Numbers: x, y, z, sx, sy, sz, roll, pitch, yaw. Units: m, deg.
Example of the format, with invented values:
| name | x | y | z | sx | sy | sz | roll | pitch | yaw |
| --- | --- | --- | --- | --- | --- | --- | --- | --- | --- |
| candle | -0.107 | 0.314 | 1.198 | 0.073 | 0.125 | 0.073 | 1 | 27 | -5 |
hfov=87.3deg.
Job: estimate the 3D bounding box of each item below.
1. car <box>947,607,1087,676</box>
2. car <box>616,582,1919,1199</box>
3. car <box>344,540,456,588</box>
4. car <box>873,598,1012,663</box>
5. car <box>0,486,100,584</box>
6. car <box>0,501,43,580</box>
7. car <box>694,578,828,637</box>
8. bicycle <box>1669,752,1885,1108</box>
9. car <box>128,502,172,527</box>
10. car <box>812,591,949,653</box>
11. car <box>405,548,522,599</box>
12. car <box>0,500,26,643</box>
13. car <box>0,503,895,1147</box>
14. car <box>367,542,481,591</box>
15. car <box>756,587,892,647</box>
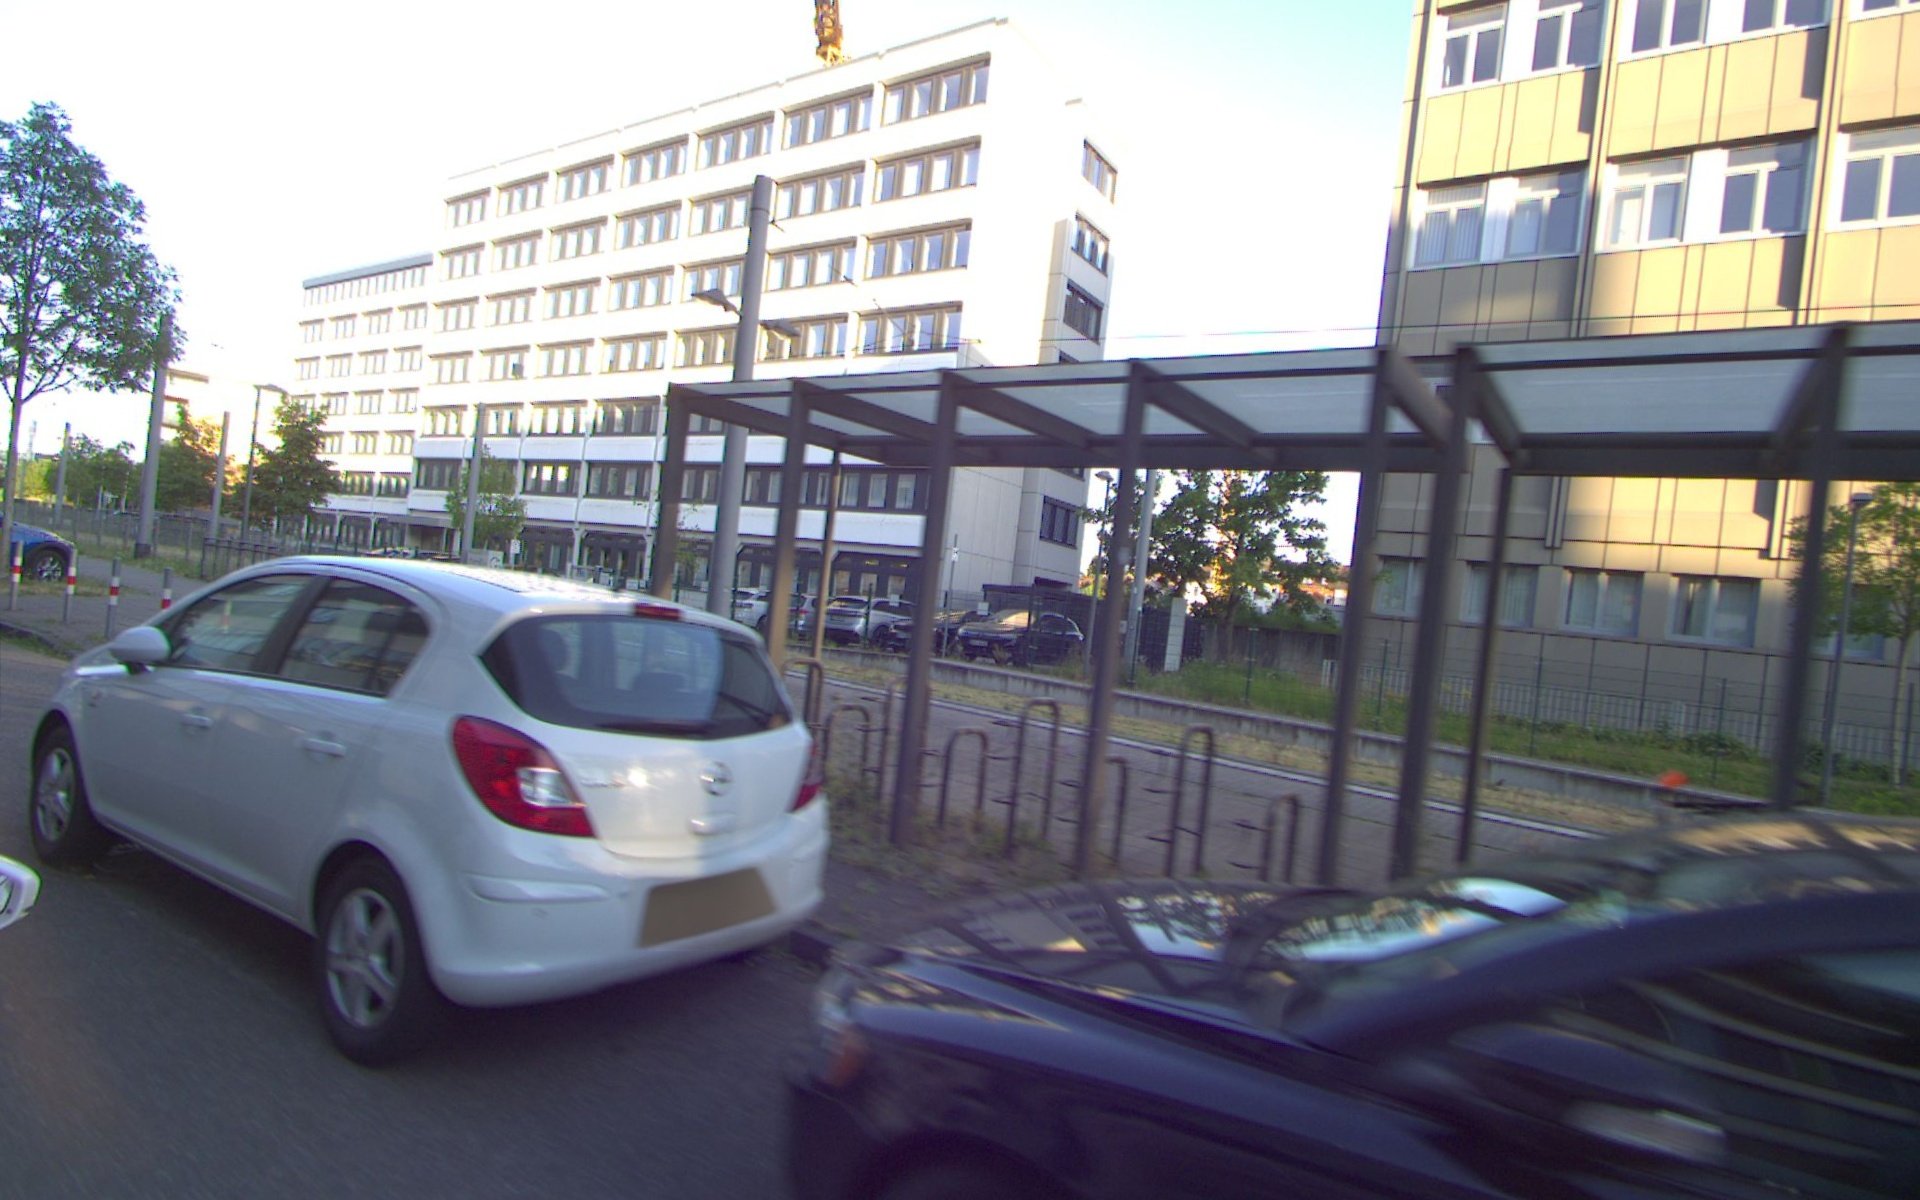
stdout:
| name | x | y | z | sx | sy | sz | roll | pitch | yaw |
| --- | --- | --- | --- | --- | --- | --- | --- | --- | --- |
| car | 1.564 | 1.078 | 26.094 | 1.649 | 1.506 | 3.984 | 7 | 2 | 35 |
| car | 1.701 | 0.992 | 1.601 | 4.440 | 1.469 | 1.789 | 7 | 0 | 32 |
| car | -25.090 | -1.588 | 45.179 | 1.566 | 1.413 | 3.995 | 7 | -3 | 33 |
| car | -0.398 | 0.848 | 27.402 | 1.649 | 1.506 | 3.984 | 7 | 2 | 35 |
| car | -16.385 | -1.158 | 16.004 | 1.892 | 1.539 | 3.999 | 5 | 0 | 0 |
| car | -18.915 | -1.246 | 17.812 | 1.705 | 1.483 | 3.999 | 7 | -1 | -3 |
| car | -6.259 | 0.284 | 31.990 | 1.794 | 1.533 | 3.987 | 7 | 1 | 33 |
| bicycle | 3.496 | 1.296 | 4.424 | 0.480 | 1.079 | 1.806 | 6 | 0 | 34 |
| car | -106.575 | -11.277 | 132.353 | 4.127 | 2.616 | 1.688 | 7 | 0 | -34 |
| car | -2.208 | 0.670 | 28.869 | 1.649 | 1.506 | 3.984 | 7 | 2 | 35 |
| car | -20.603 | -1.072 | 41.872 | 1.566 | 1.413 | 3.995 | 7 | -3 | 33 |
| car | -12.137 | -0.562 | 10.752 | 3.929 | 1.482 | 1.737 | 6 | -3 | 26 |
| car | -2.508 | 0.530 | 4.367 | 4.118 | 1.469 | 1.678 | 7 | -1 | 32 |
| car | -23.278 | -1.420 | 43.837 | 1.566 | 1.413 | 3.995 | 7 | -3 | 33 |
| car | -3.966 | 0.536 | 29.993 | 1.649 | 1.506 | 3.984 | 7 | 2 | 35 |
